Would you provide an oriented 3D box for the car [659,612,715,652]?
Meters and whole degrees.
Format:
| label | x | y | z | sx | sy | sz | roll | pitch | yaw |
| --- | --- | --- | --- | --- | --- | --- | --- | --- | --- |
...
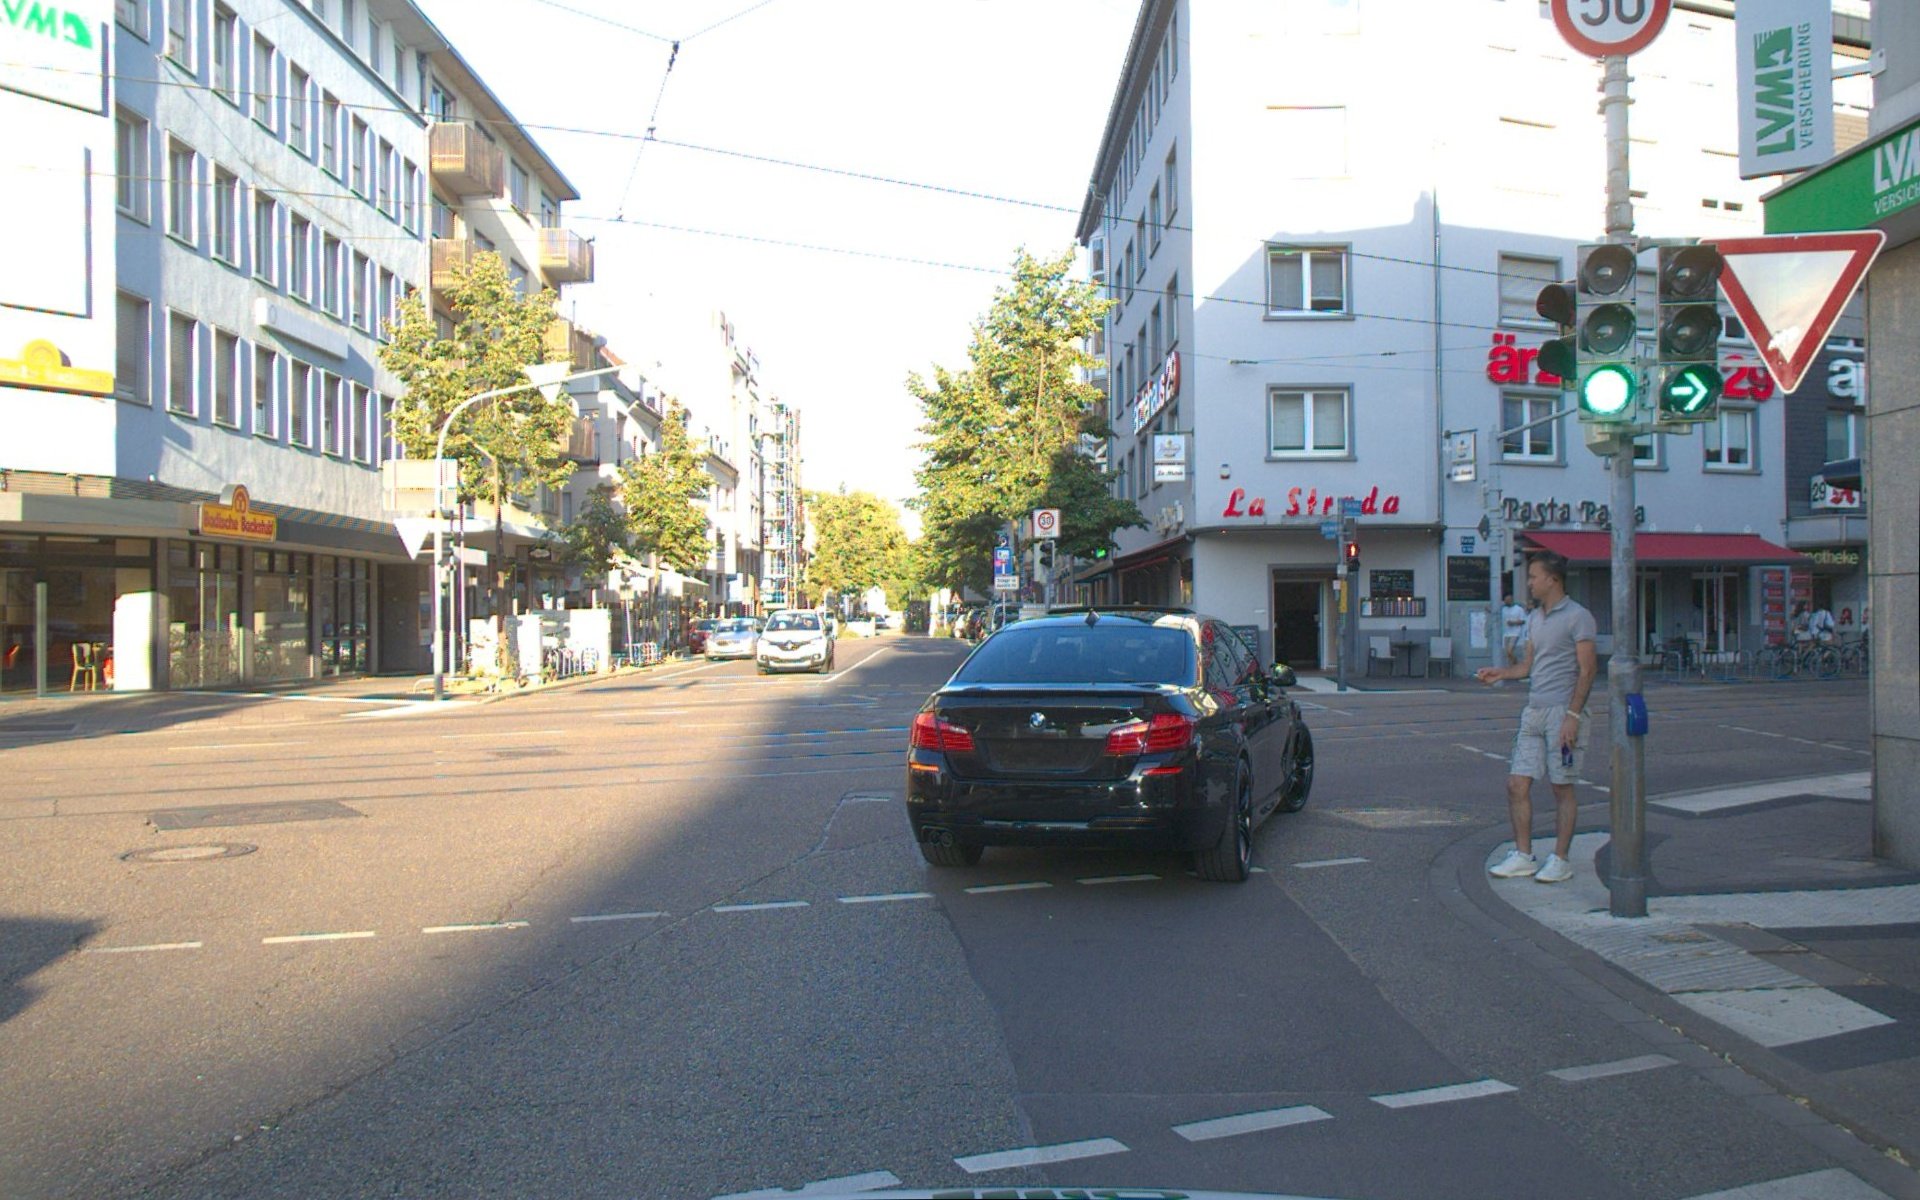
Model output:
| label | x | y | z | sx | sy | sz | roll | pitch | yaw |
| --- | --- | --- | --- | --- | --- | --- | --- | --- | --- |
| car | -11.379 | 1.336 | 69.220 | 1.798 | 1.584 | 3.778 | -2 | -1 | -2 |

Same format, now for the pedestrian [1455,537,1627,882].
| label | x | y | z | sx | sy | sz | roll | pitch | yaw |
| --- | --- | --- | --- | --- | --- | --- | --- | --- | --- |
| pedestrian | 3.111 | 0.566 | 8.901 | 0.638 | 1.773 | 0.694 | -1 | -1 | -2 |

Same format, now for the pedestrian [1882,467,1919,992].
| label | x | y | z | sx | sy | sz | roll | pitch | yaw |
| --- | --- | --- | --- | --- | --- | --- | --- | --- | --- |
| pedestrian | 3.717 | 0.452 | 5.586 | 0.676 | 1.859 | 0.880 | -2 | -1 | 2 |

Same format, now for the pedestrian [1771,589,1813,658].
| label | x | y | z | sx | sy | sz | roll | pitch | yaw |
| --- | --- | --- | --- | --- | --- | --- | --- | --- | --- |
| pedestrian | 20.581 | 0.580 | 40.912 | 0.614 | 1.690 | 0.679 | -1 | 0 | -24 |

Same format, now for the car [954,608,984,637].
| label | x | y | z | sx | sy | sz | roll | pitch | yaw |
| --- | --- | --- | --- | --- | --- | --- | --- | --- | --- |
| car | 0.590 | 1.456 | 108.815 | 1.813 | 1.825 | 4.001 | -2 | -1 | 2 |

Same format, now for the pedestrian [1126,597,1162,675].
| label | x | y | z | sx | sy | sz | roll | pitch | yaw |
| --- | --- | --- | --- | --- | --- | --- | --- | --- | --- |
| pedestrian | 4.075 | 0.799 | 36.662 | 0.697 | 1.706 | 0.703 | 0 | 0 | -1 |

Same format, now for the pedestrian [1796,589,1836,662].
| label | x | y | z | sx | sy | sz | roll | pitch | yaw |
| --- | --- | --- | --- | --- | --- | --- | --- | --- | --- |
| pedestrian | 20.784 | 0.611 | 40.144 | 0.593 | 1.729 | 0.618 | -1 | 0 | -24 |

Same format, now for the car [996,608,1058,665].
| label | x | y | z | sx | sy | sz | roll | pitch | yaw |
| --- | --- | --- | --- | --- | --- | --- | --- | --- | --- |
| car | 1.825 | 0.976 | 44.946 | 1.606 | 1.469 | 3.607 | 0 | -1 | 2 |

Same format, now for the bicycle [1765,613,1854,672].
| label | x | y | z | sx | sy | sz | roll | pitch | yaw |
| --- | --- | --- | --- | --- | --- | --- | --- | --- | --- |
| bicycle | 19.363 | 0.958 | 37.736 | 0.544 | 1.232 | 1.883 | 0 | 2 | -23 |

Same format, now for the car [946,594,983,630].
| label | x | y | z | sx | sy | sz | roll | pitch | yaw |
| --- | --- | --- | --- | --- | --- | --- | --- | --- | --- |
| car | 0.268 | 0.666 | 88.221 | 1.813 | 1.825 | 4.001 | 1 | -1 | 2 |

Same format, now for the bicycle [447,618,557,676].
| label | x | y | z | sx | sy | sz | roll | pitch | yaw |
| --- | --- | --- | --- | --- | --- | --- | --- | --- | --- |
| bicycle | -10.446 | 1.062 | 37.764 | 2.321 | 1.275 | 0.639 | 1 | -1 | -5 |

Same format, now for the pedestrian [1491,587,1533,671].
| label | x | y | z | sx | sy | sz | roll | pitch | yaw |
| --- | --- | --- | --- | --- | --- | --- | --- | --- | --- |
| pedestrian | 12.061 | 0.628 | 36.147 | 0.589 | 1.810 | 0.635 | 0 | -1 | -18 |

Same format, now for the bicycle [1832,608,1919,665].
| label | x | y | z | sx | sy | sz | roll | pitch | yaw |
| --- | --- | --- | --- | --- | --- | --- | --- | --- | --- |
| bicycle | 20.899 | 0.822 | 37.530 | 0.544 | 1.245 | 2.103 | 0 | -1 | -23 |

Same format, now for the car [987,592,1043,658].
| label | x | y | z | sx | sy | sz | roll | pitch | yaw |
| --- | --- | --- | --- | --- | --- | --- | --- | --- | --- |
| car | 1.714 | 0.737 | 51.520 | 1.606 | 1.906 | 3.608 | 2 | 0 | 2 |

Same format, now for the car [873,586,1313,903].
| label | x | y | z | sx | sy | sz | roll | pitch | yaw |
| --- | --- | --- | --- | --- | --- | --- | --- | --- | --- |
| car | 1.089 | 0.696 | 10.404 | 1.912 | 1.524 | 4.468 | 0 | 0 | 16 |

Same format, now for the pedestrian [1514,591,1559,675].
| label | x | y | z | sx | sy | sz | roll | pitch | yaw |
| --- | --- | --- | --- | --- | --- | --- | --- | --- | --- |
| pedestrian | 12.375 | 0.694 | 35.501 | 0.656 | 1.775 | 0.635 | 0 | -1 | -18 |

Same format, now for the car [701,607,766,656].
| label | x | y | z | sx | sy | sz | roll | pitch | yaw |
| --- | --- | --- | --- | --- | --- | --- | --- | --- | --- |
| car | -7.757 | 1.056 | 56.840 | 1.798 | 1.583 | 3.778 | -2 | 0 | -2 |

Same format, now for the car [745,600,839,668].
| label | x | y | z | sx | sy | sz | roll | pitch | yaw |
| --- | --- | --- | --- | --- | --- | --- | --- | --- | --- |
| car | -4.184 | 0.856 | 41.760 | 2.065 | 1.584 | 4.010 | -2 | -1 | -2 |
